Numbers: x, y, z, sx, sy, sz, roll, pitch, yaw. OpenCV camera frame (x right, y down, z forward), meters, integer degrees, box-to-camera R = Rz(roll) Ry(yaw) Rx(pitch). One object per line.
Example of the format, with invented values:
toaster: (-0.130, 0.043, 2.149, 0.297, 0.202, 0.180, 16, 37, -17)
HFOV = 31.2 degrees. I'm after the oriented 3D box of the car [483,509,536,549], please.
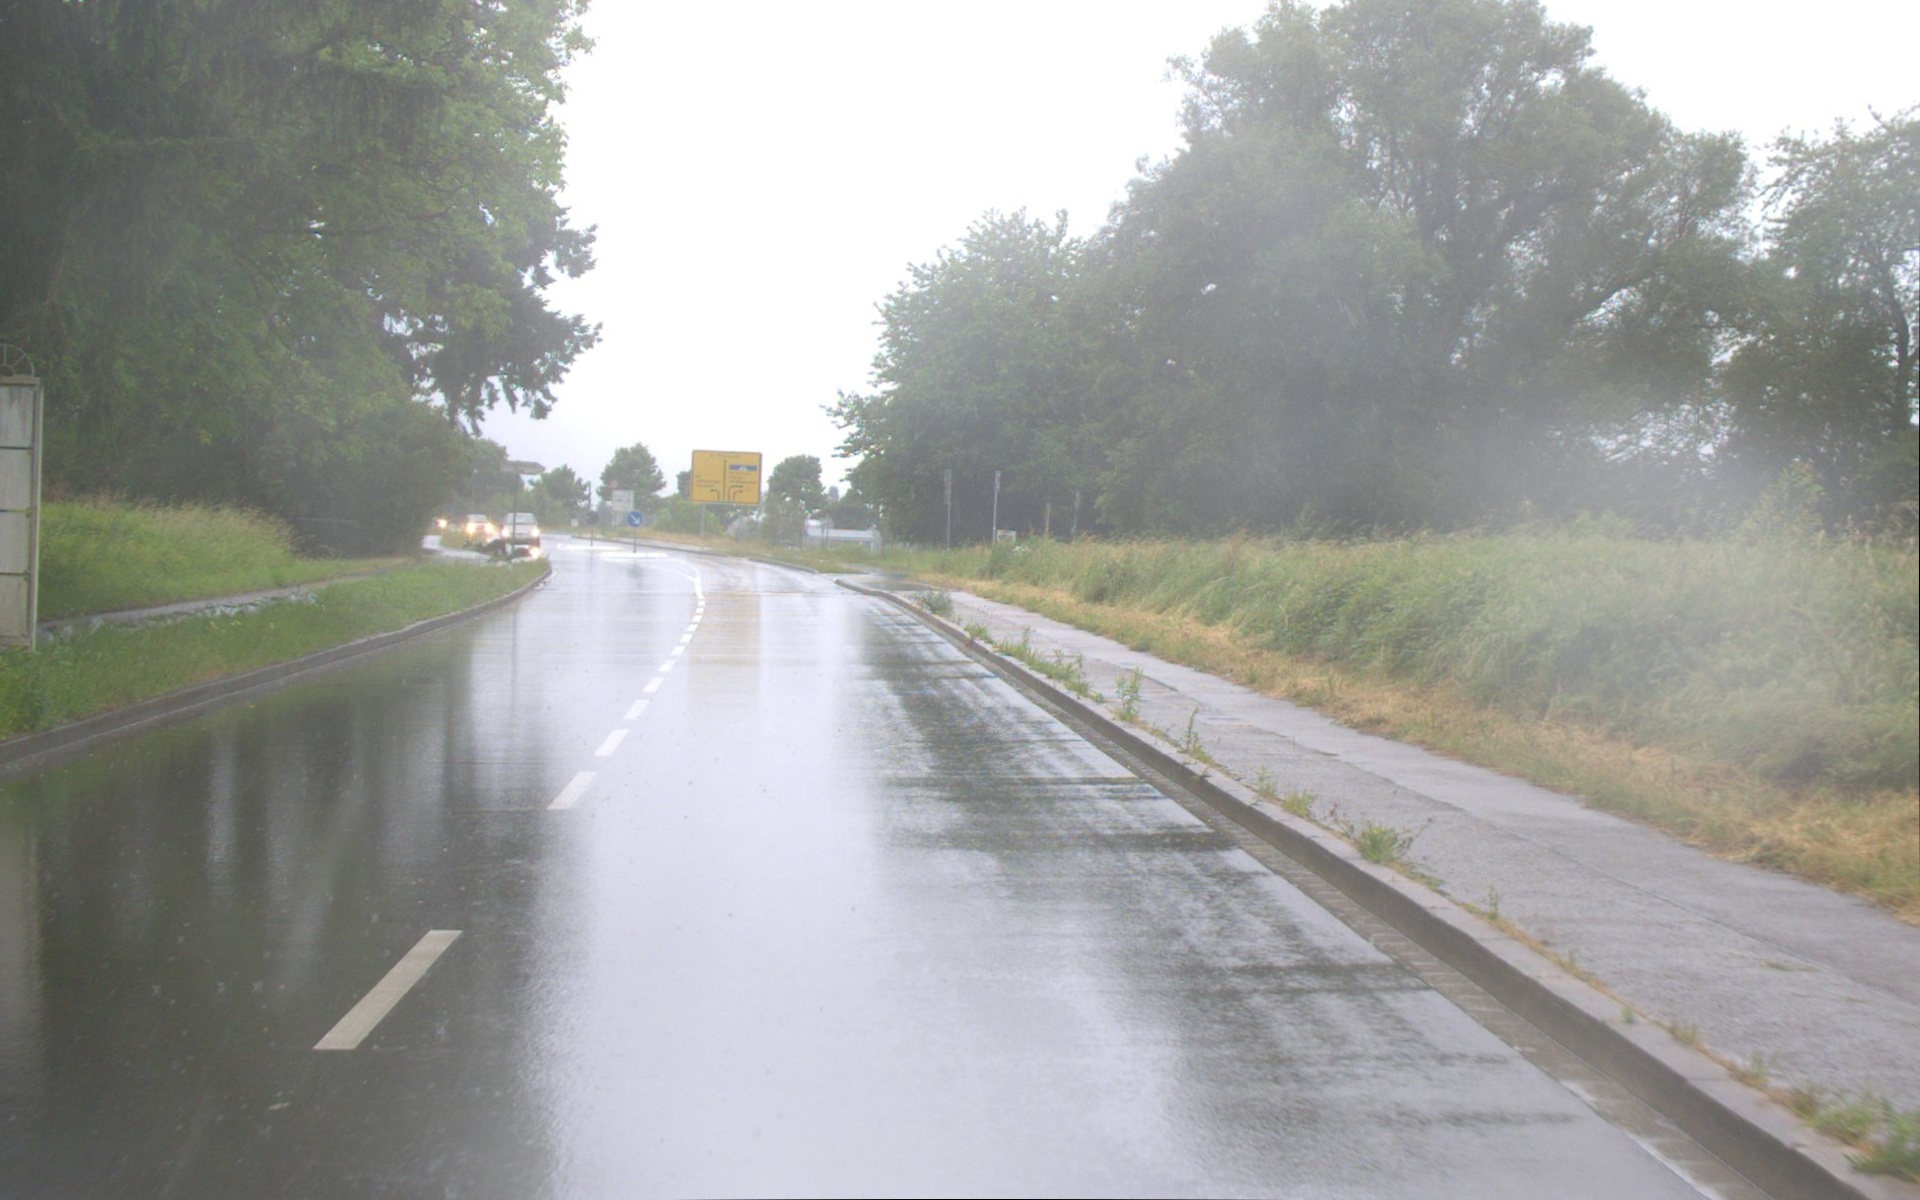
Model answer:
car: (-20.635, -3.251, 157.254, 1.760, 1.546, 4.002, 0, 5, -17)
